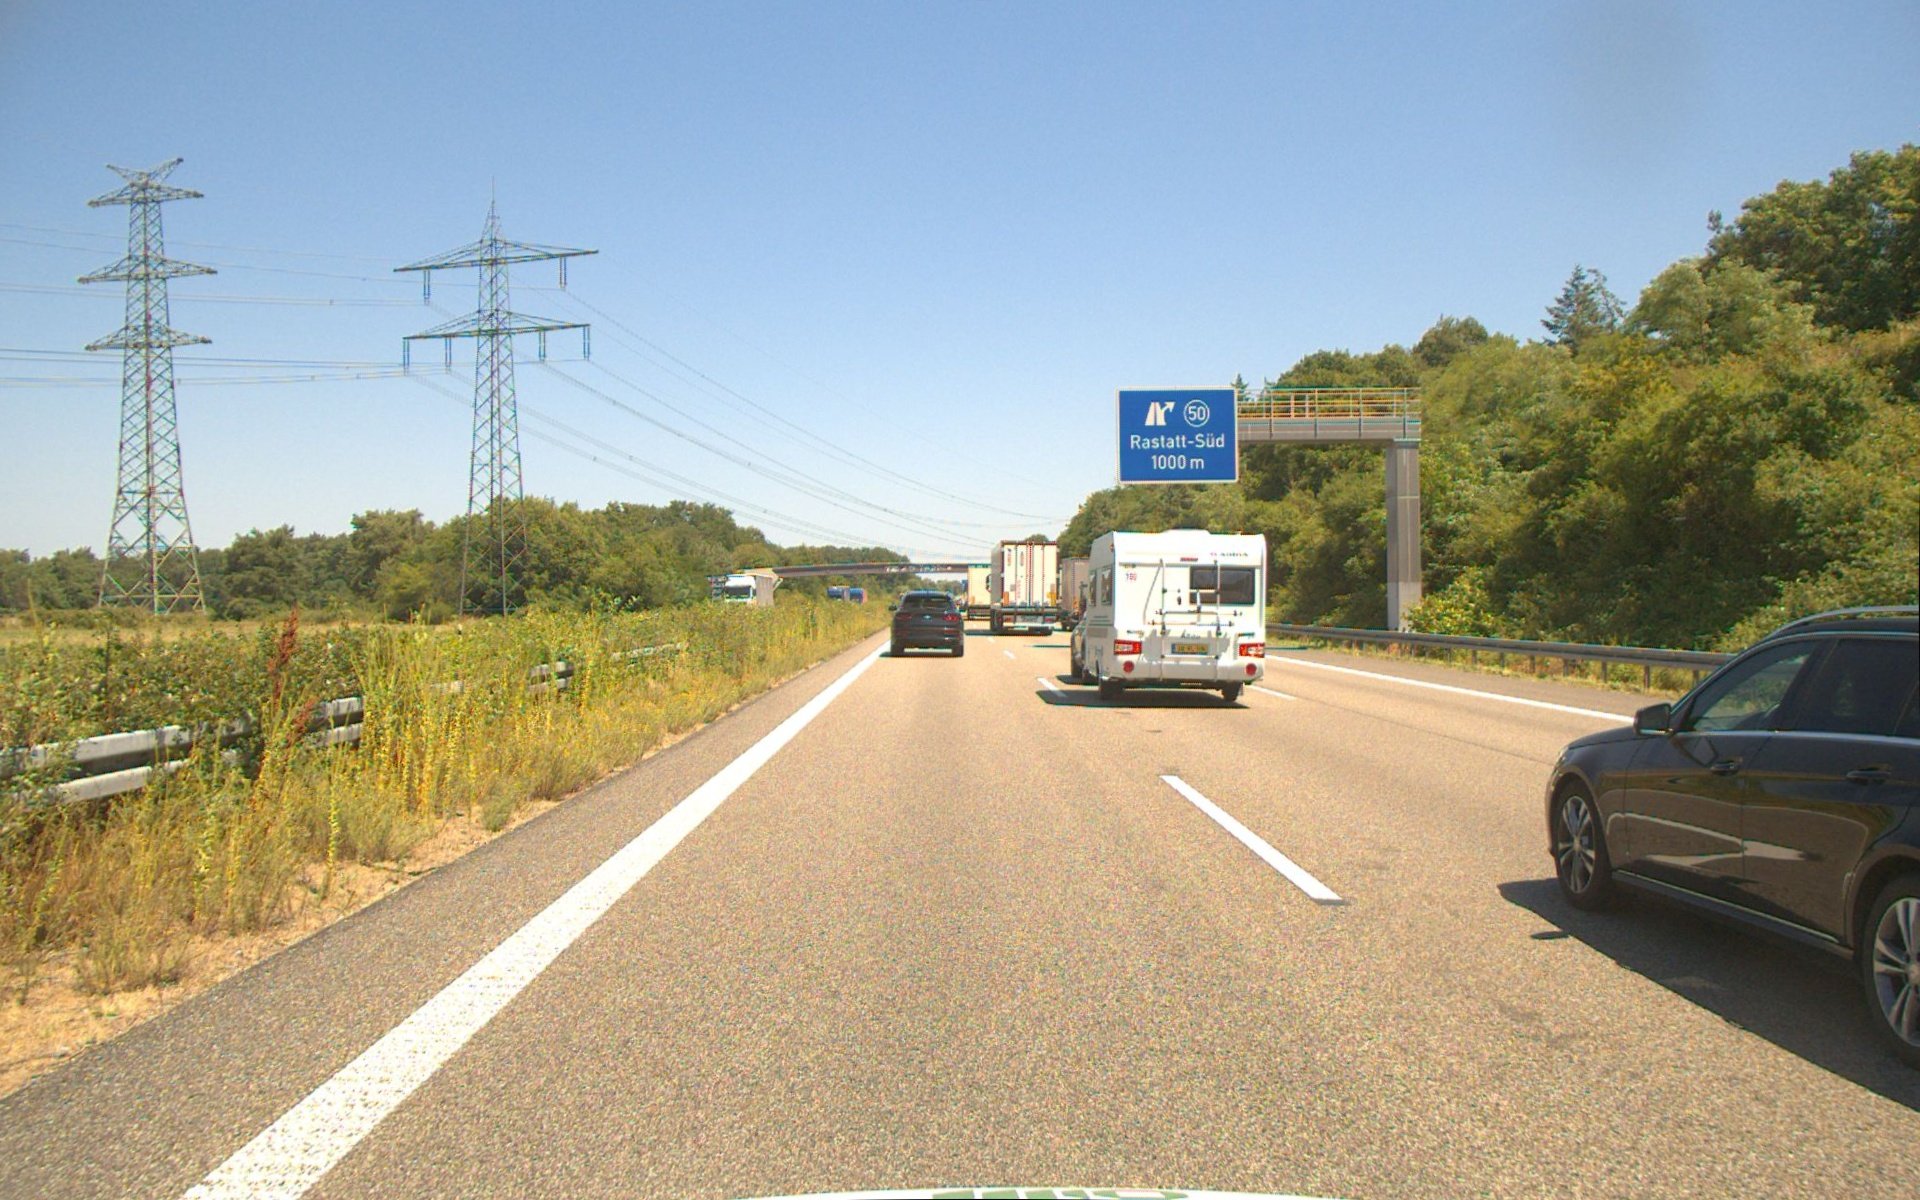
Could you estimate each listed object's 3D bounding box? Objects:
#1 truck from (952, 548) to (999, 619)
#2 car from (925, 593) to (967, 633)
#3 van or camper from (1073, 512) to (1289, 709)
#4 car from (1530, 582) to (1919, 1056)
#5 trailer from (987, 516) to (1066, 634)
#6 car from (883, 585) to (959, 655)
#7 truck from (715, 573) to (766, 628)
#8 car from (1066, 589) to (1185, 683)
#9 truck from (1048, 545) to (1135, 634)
[{"bbox_3d":[1.165,-1.231,129.143,3.440,5.257,10.257,1,0,-1],"label":"truck"},{"bbox_3d":[-0.699,0.606,78.998,1.922,1.846,4.447,0,0,-2],"label":"car"},{"bbox_3d":[3.296,0.129,26.205,2.390,2.721,6.347,0,0,-2],"label":"van or camper"},{"bbox_3d":[4.043,0.710,6.626,1.804,1.532,4.737,-1,1,-1],"label":"car"},{"bbox_3d":[2.954,-1.044,77.020,3.024,4.970,12.256,1,0,0],"label":"trailer"},{"bbox_3d":[-1.073,0.506,45.003,1.953,1.803,3.999,0,0,-2],"label":"car"},{"bbox_3d":[-18.864,0.070,142.345,3.299,4.485,6.556,-2,0,0],"label":"truck"},{"bbox_3d":[3.091,0.630,31.726,1.840,1.640,4.702,1,0,1],"label":"car"},{"bbox_3d":[6.802,-0.489,87.692,3.498,4.319,11.650,1,0,-1],"label":"truck"}]
